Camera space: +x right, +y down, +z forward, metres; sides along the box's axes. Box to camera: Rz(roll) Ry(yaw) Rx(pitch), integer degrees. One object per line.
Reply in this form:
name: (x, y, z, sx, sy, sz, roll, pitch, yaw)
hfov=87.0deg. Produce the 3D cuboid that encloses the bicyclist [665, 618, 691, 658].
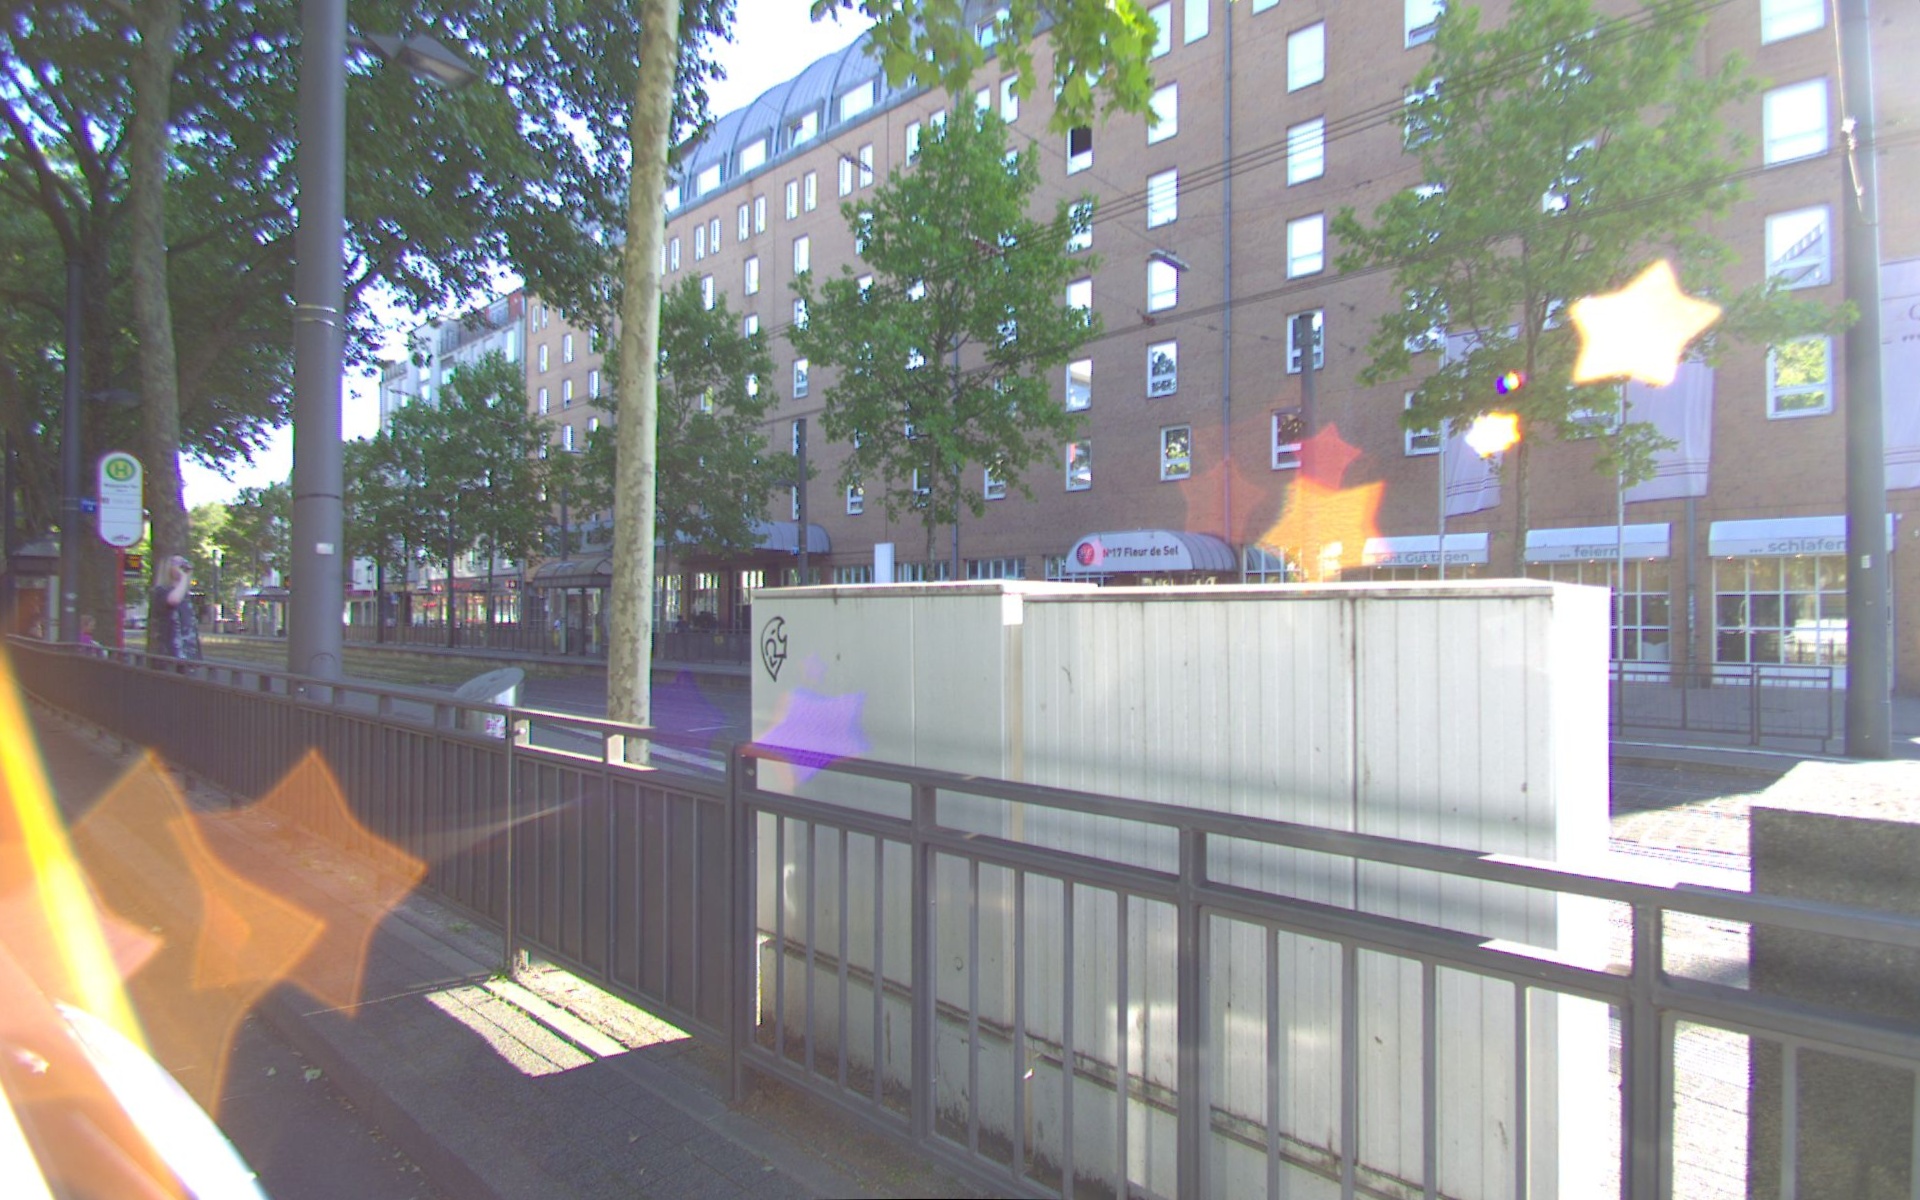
bicyclist: (-11.137, 1.497, 40.000, 0.756, 1.581, 0.655, -1, -2, 34)

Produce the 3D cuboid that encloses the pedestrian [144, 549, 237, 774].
pedestrian: (-6.584, 0.501, 8.662, 0.524, 1.848, 0.536, -1, 0, 43)

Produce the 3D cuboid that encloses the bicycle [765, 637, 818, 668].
bicycle: (-5.878, 1.820, 35.284, 1.897, 1.006, 0.647, -1, -2, 34)

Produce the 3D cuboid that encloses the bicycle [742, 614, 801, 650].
bicycle: (-6.493, 1.104, 34.829, 2.105, 1.151, 0.679, -3, -3, 34)

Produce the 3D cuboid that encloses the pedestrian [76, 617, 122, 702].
pedestrian: (-13.973, 0.953, 16.433, 0.534, 1.327, 0.525, -1, 0, -37)

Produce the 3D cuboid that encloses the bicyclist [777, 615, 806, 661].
bicyclist: (-5.883, 1.320, 35.288, 0.756, 1.586, 0.655, -1, -2, 34)

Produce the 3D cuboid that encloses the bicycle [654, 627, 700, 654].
bicycle: (-11.210, 1.593, 40.101, 1.897, 1.006, 0.688, -1, -2, 34)

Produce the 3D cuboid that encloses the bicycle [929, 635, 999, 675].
bicycle: (0.104, 1.542, 28.798, 2.009, 1.058, 0.646, 0, -1, 37)

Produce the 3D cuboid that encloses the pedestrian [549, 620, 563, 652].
pedestrian: (-22.893, 2.035, 57.323, 0.574, 1.748, 0.497, -1, -2, 43)

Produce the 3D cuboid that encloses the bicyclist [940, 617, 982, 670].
bicyclist: (0.033, 1.230, 28.835, 1.031, 1.485, 0.647, -1, -1, 36)

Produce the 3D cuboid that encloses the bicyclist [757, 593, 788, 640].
bicyclist: (-6.454, 0.582, 34.819, 0.756, 1.572, 0.676, -3, -3, 33)

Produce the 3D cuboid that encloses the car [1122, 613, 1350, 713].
car: (5.448, 1.160, 20.241, 3.997, 1.776, 1.849, -1, 0, 40)
